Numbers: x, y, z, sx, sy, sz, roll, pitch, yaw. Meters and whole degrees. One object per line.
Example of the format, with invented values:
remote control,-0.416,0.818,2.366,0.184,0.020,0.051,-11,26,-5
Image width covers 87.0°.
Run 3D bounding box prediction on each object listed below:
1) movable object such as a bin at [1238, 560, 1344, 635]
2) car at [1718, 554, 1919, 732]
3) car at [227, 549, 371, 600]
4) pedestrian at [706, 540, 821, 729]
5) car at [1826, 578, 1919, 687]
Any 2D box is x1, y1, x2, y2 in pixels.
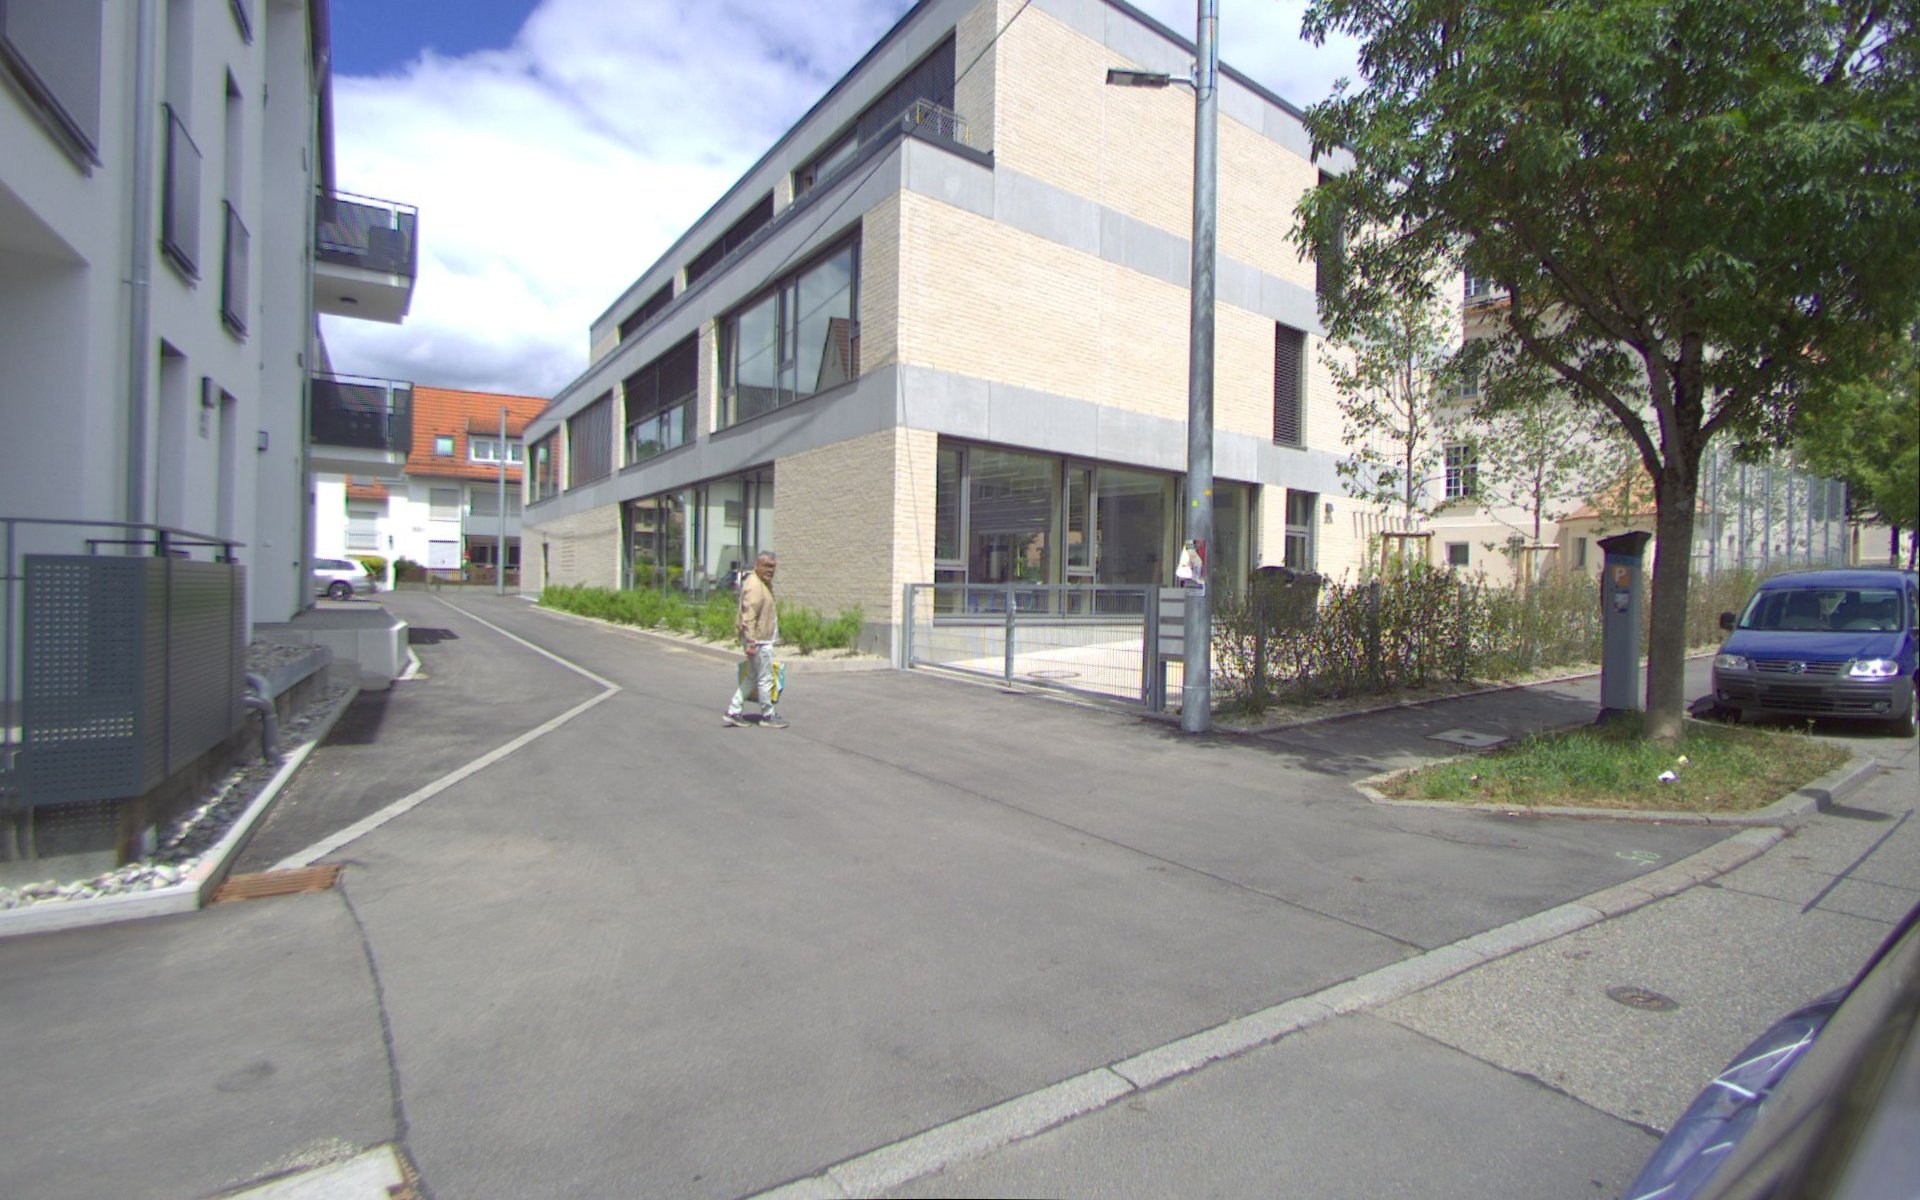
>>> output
movable object such as a bin,6.820,-0.065,20.851,1.774,1.465,1.351,0,1,-39
car,10.542,0.399,11.958,4.086,1.765,1.697,0,1,-41
car,-21.768,-0.810,33.494,3.857,1.524,1.700,1,1,-31
pedestrian,-1.897,0.305,9.779,0.815,1.725,0.774,0,0,-42
car,14.789,0.449,15.586,3.605,1.538,1.676,0,1,-40
